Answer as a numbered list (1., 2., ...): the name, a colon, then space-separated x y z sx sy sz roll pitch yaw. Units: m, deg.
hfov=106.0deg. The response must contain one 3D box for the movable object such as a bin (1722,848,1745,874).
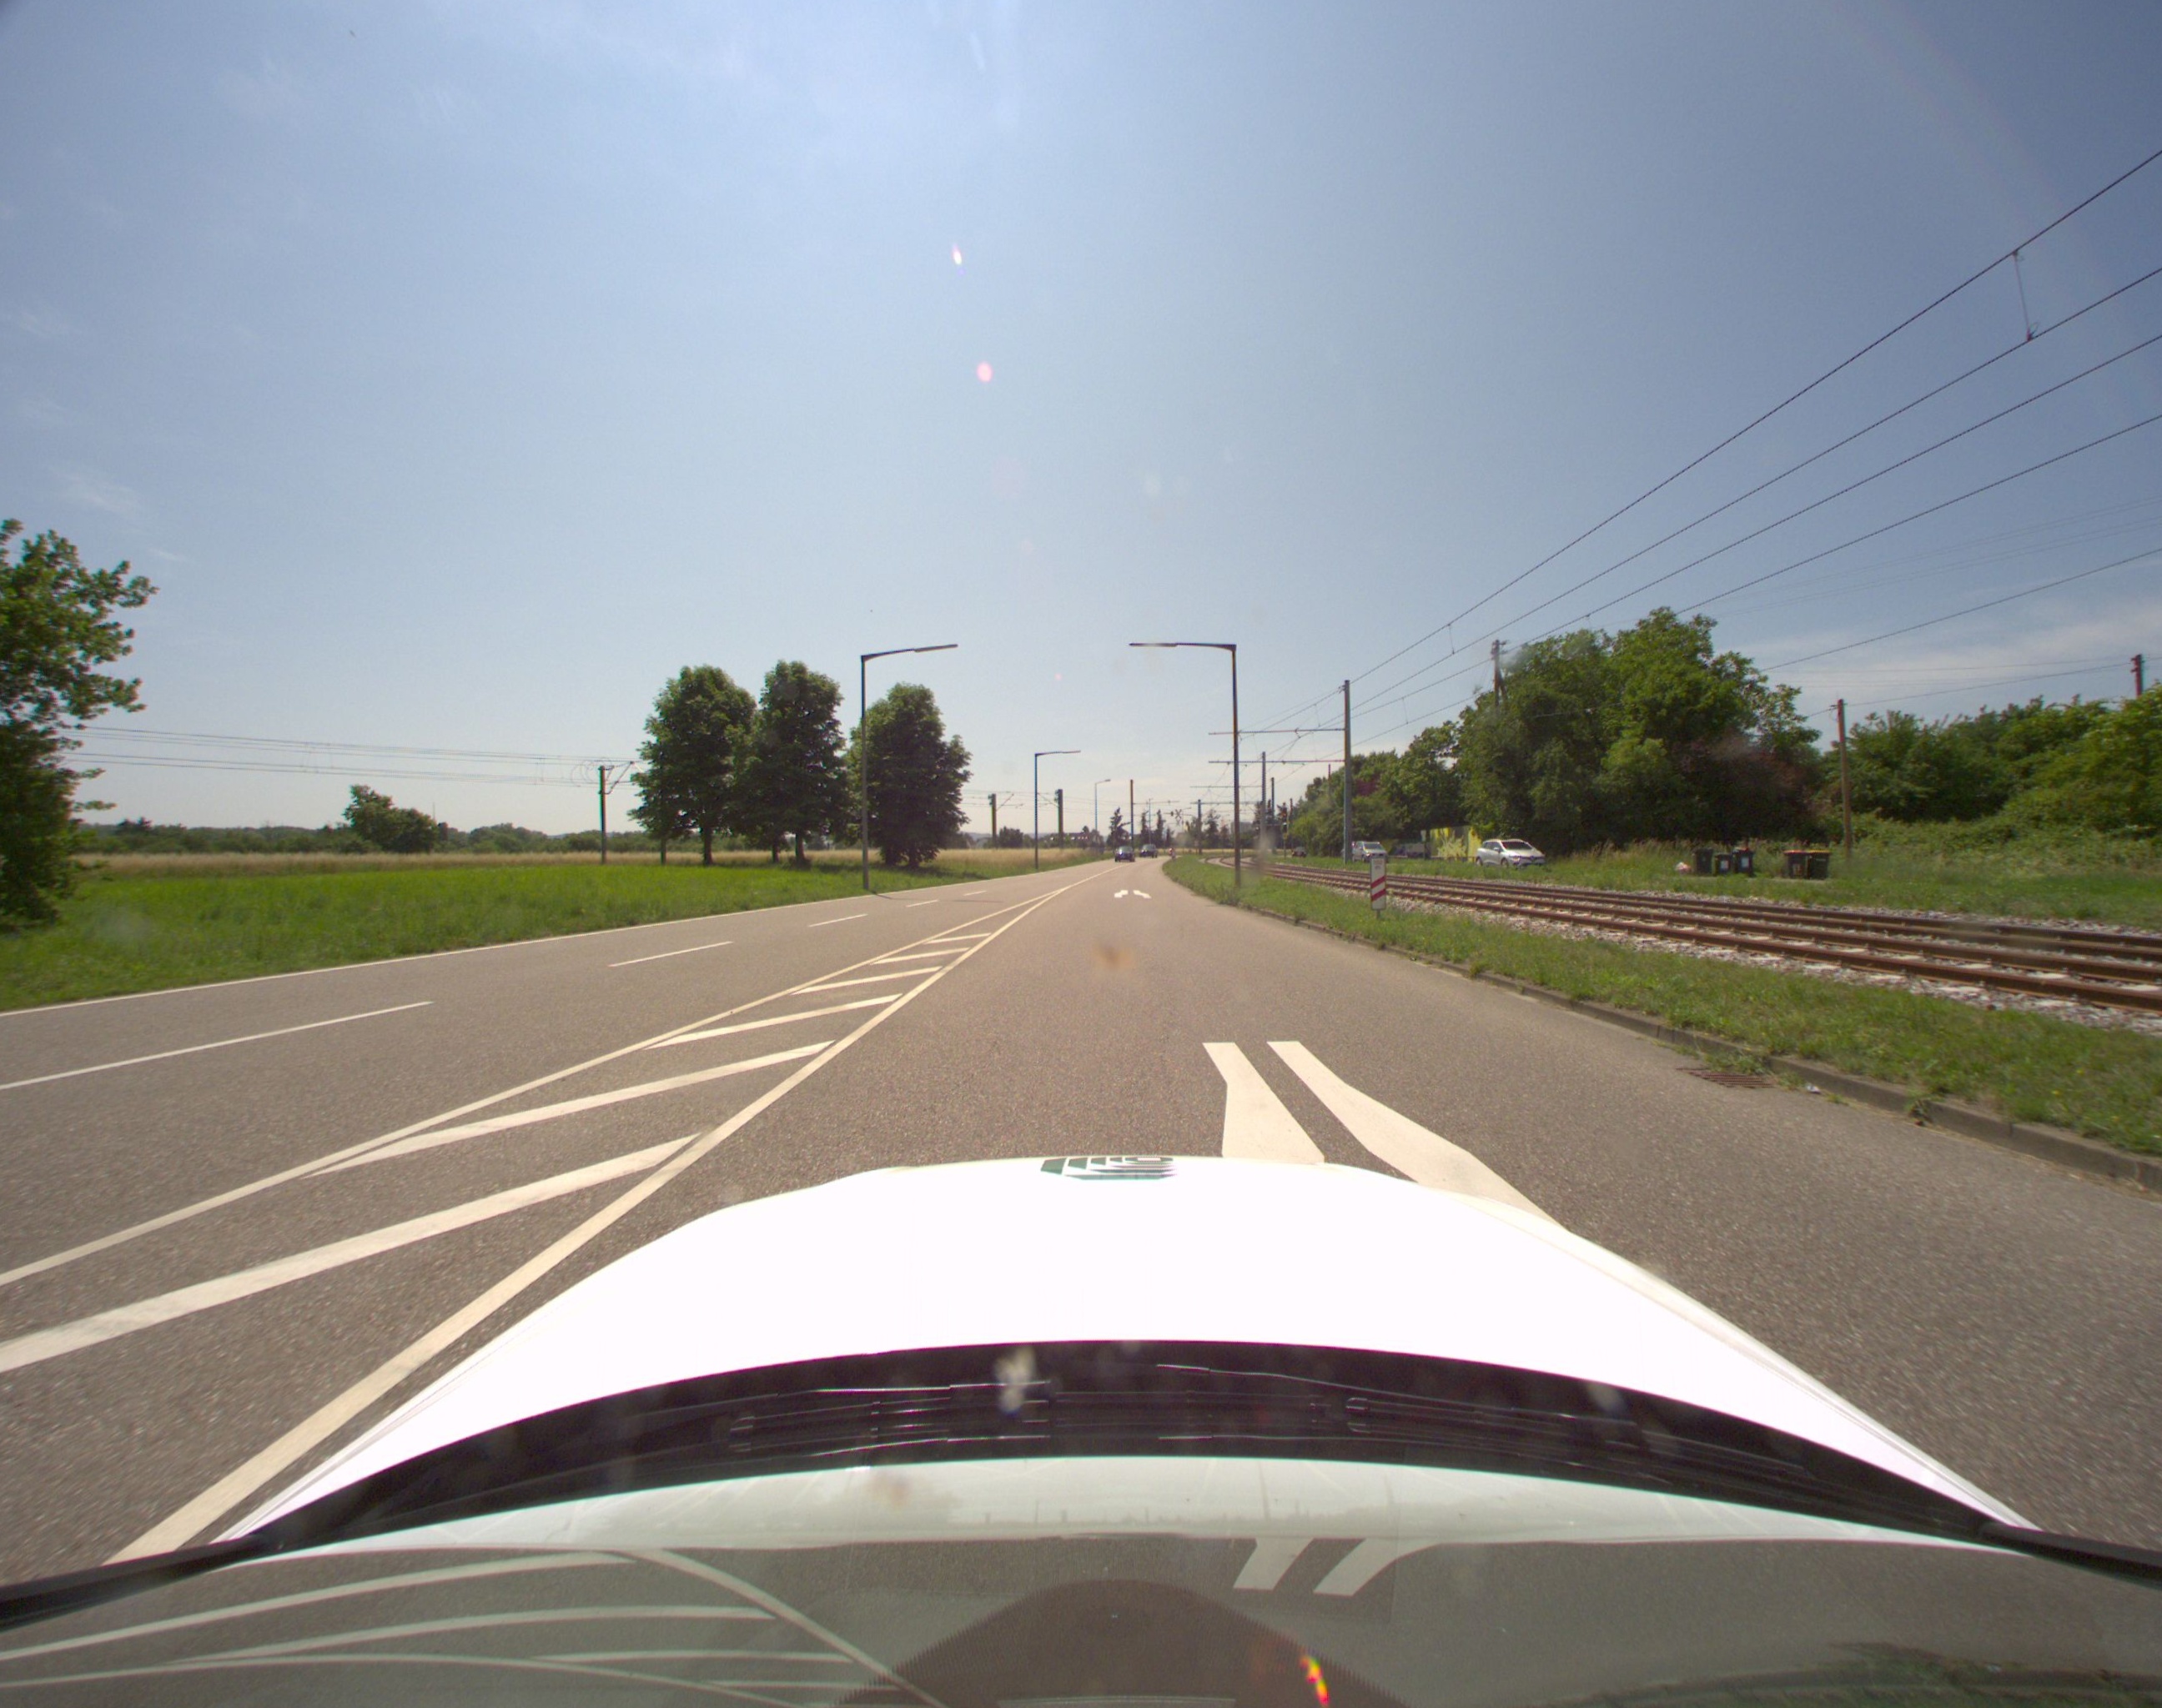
1. movable object such as a bin: 23.896 0.243 29.835 0.443 0.935 0.807 -1 -1 24

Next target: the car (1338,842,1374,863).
1. car: 22.460 -0.093 66.662 1.818 1.657 4.823 -1 -1 6

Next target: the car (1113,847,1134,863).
1. car: 4.431 0.096 83.875 1.812 1.572 4.120 -1 -1 8

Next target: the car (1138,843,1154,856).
1. car: 8.200 -0.555 102.888 1.817 1.601 4.493 0 1 7

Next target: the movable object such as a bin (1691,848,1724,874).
1. movable object such as a bin: 22.823 0.253 29.680 0.793 0.935 0.784 -1 -1 24

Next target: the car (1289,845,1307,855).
1. car: 28.441 -0.548 106.879 1.637 1.171 3.673 -1 -1 4

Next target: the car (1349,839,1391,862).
1. car: 21.417 -0.239 60.544 1.669 1.624 4.715 -1 -1 3

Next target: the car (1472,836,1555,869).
1. car: 19.651 -0.035 37.224 1.673 1.414 4.554 -1 -1 4

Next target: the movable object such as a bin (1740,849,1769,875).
1. movable object such as a bin: 24.411 0.301 29.527 0.579 0.935 0.833 -1 -1 24
